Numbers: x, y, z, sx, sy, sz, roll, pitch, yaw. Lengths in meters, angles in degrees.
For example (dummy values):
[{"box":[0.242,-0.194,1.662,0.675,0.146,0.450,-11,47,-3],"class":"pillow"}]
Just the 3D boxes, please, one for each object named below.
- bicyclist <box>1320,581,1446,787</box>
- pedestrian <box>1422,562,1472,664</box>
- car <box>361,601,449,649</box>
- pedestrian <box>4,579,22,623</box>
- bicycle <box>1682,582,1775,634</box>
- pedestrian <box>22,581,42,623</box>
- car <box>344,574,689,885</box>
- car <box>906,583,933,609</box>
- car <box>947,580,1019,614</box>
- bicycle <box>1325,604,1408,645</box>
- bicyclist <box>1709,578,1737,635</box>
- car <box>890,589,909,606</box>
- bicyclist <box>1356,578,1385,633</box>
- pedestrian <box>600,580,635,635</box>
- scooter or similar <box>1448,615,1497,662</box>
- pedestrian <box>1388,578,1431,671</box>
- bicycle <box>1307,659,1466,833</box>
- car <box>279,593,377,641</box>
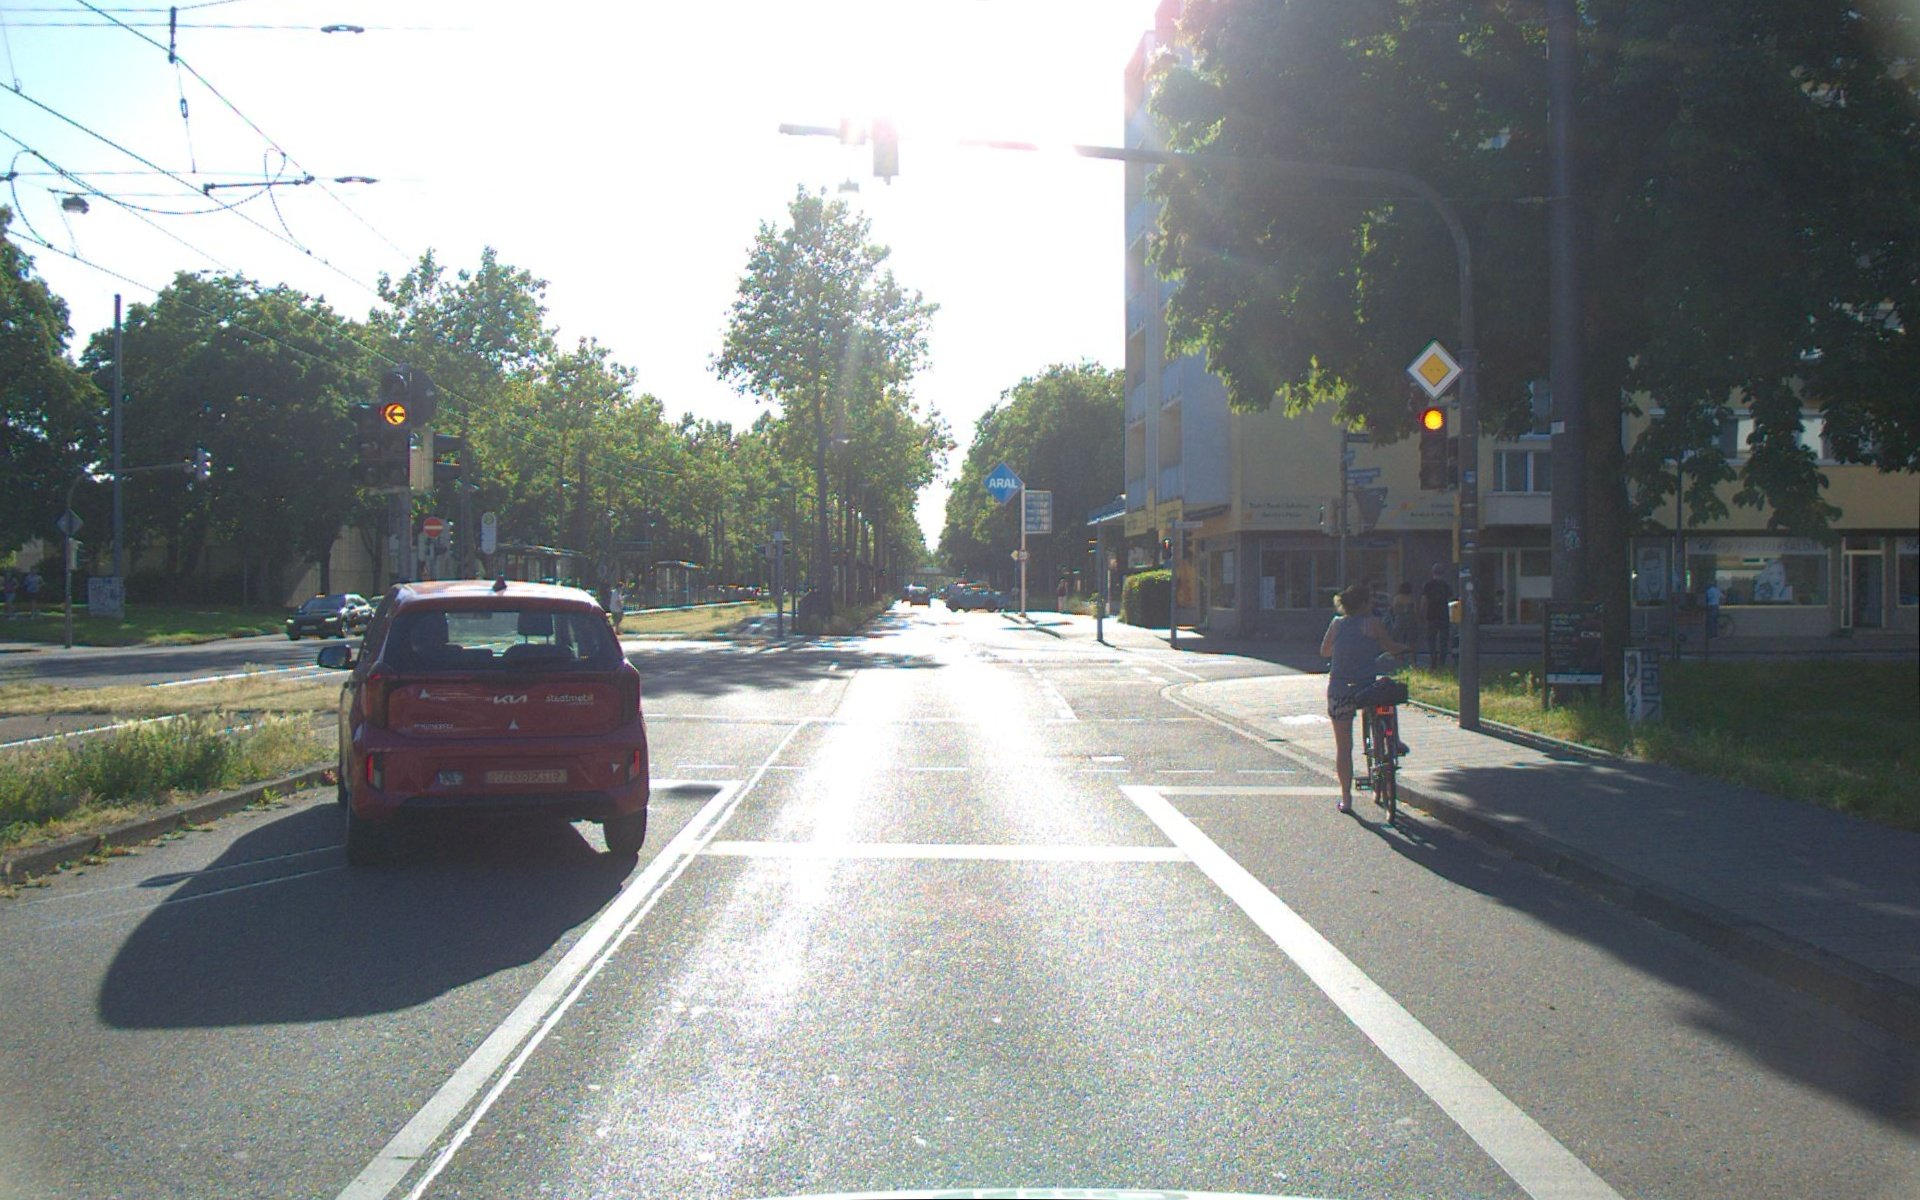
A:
[{"box":[2.902,0.560,11.407,0.625,1.346,0.803,2,0,1],"class":"bicyclist"},{"box":[8.400,0.215,28.553,0.714,1.711,0.533,2,0,11],"class":"pedestrian"},{"box":[-19.190,0.850,57.377,1.653,1.560,4.360,0,0,-1],"class":"car"},{"box":[-34.481,0.029,60.252,0.427,1.587,0.305,2,0,-5],"class":"pedestrian"},{"box":[22.430,0.222,48.288,2.421,1.424,0.608,2,0,-3],"class":"bicycle"},{"box":[-33.822,0.073,60.279,0.427,1.533,0.488,2,0,-5],"class":"pedestrian"},{"box":[-2.898,0.636,10.256,1.670,1.534,3.676,2,0,-21],"class":"car"},{"box":[-3.119,-0.291,126.775,1.929,1.892,3.998,2,0,-3],"class":"car"},{"box":[1.413,-0.174,101.710,3.908,1.892,2.010,2,0,25],"class":"car"},{"box":[11.216,0.675,45.637,2.203,1.004,0.790,1,5,14],"class":"bicycle"},{"box":[22.002,0.185,47.701,0.516,1.594,0.464,2,0,-4],"class":"bicyclist"},{"box":[-6.074,-0.256,166.580,1.856,1.639,4.498,2,0,-2],"class":"car"},{"box":[11.324,0.152,45.621,0.752,1.496,0.899,-1,1,16],"class":"bicyclist"},{"box":[-10.396,0.217,50.209,0.873,1.634,0.613,2,0,-1],"class":"pedestrian"},{"box":[8.653,0.650,27.946,0.586,0.750,0.681,2,0,-2],"class":"scooter or similar"},{"box":[7.735,0.418,28.492,0.633,1.549,0.496,2,0,11],"class":"pedestrian"},{"box":[2.866,0.950,11.285,0.634,0.989,1.804,2,0,2],"class":"bicycle"},{"box":[-21.759,0.548,57.131,1.770,1.560,4.360,0,0,-1],"class":"car"}]
